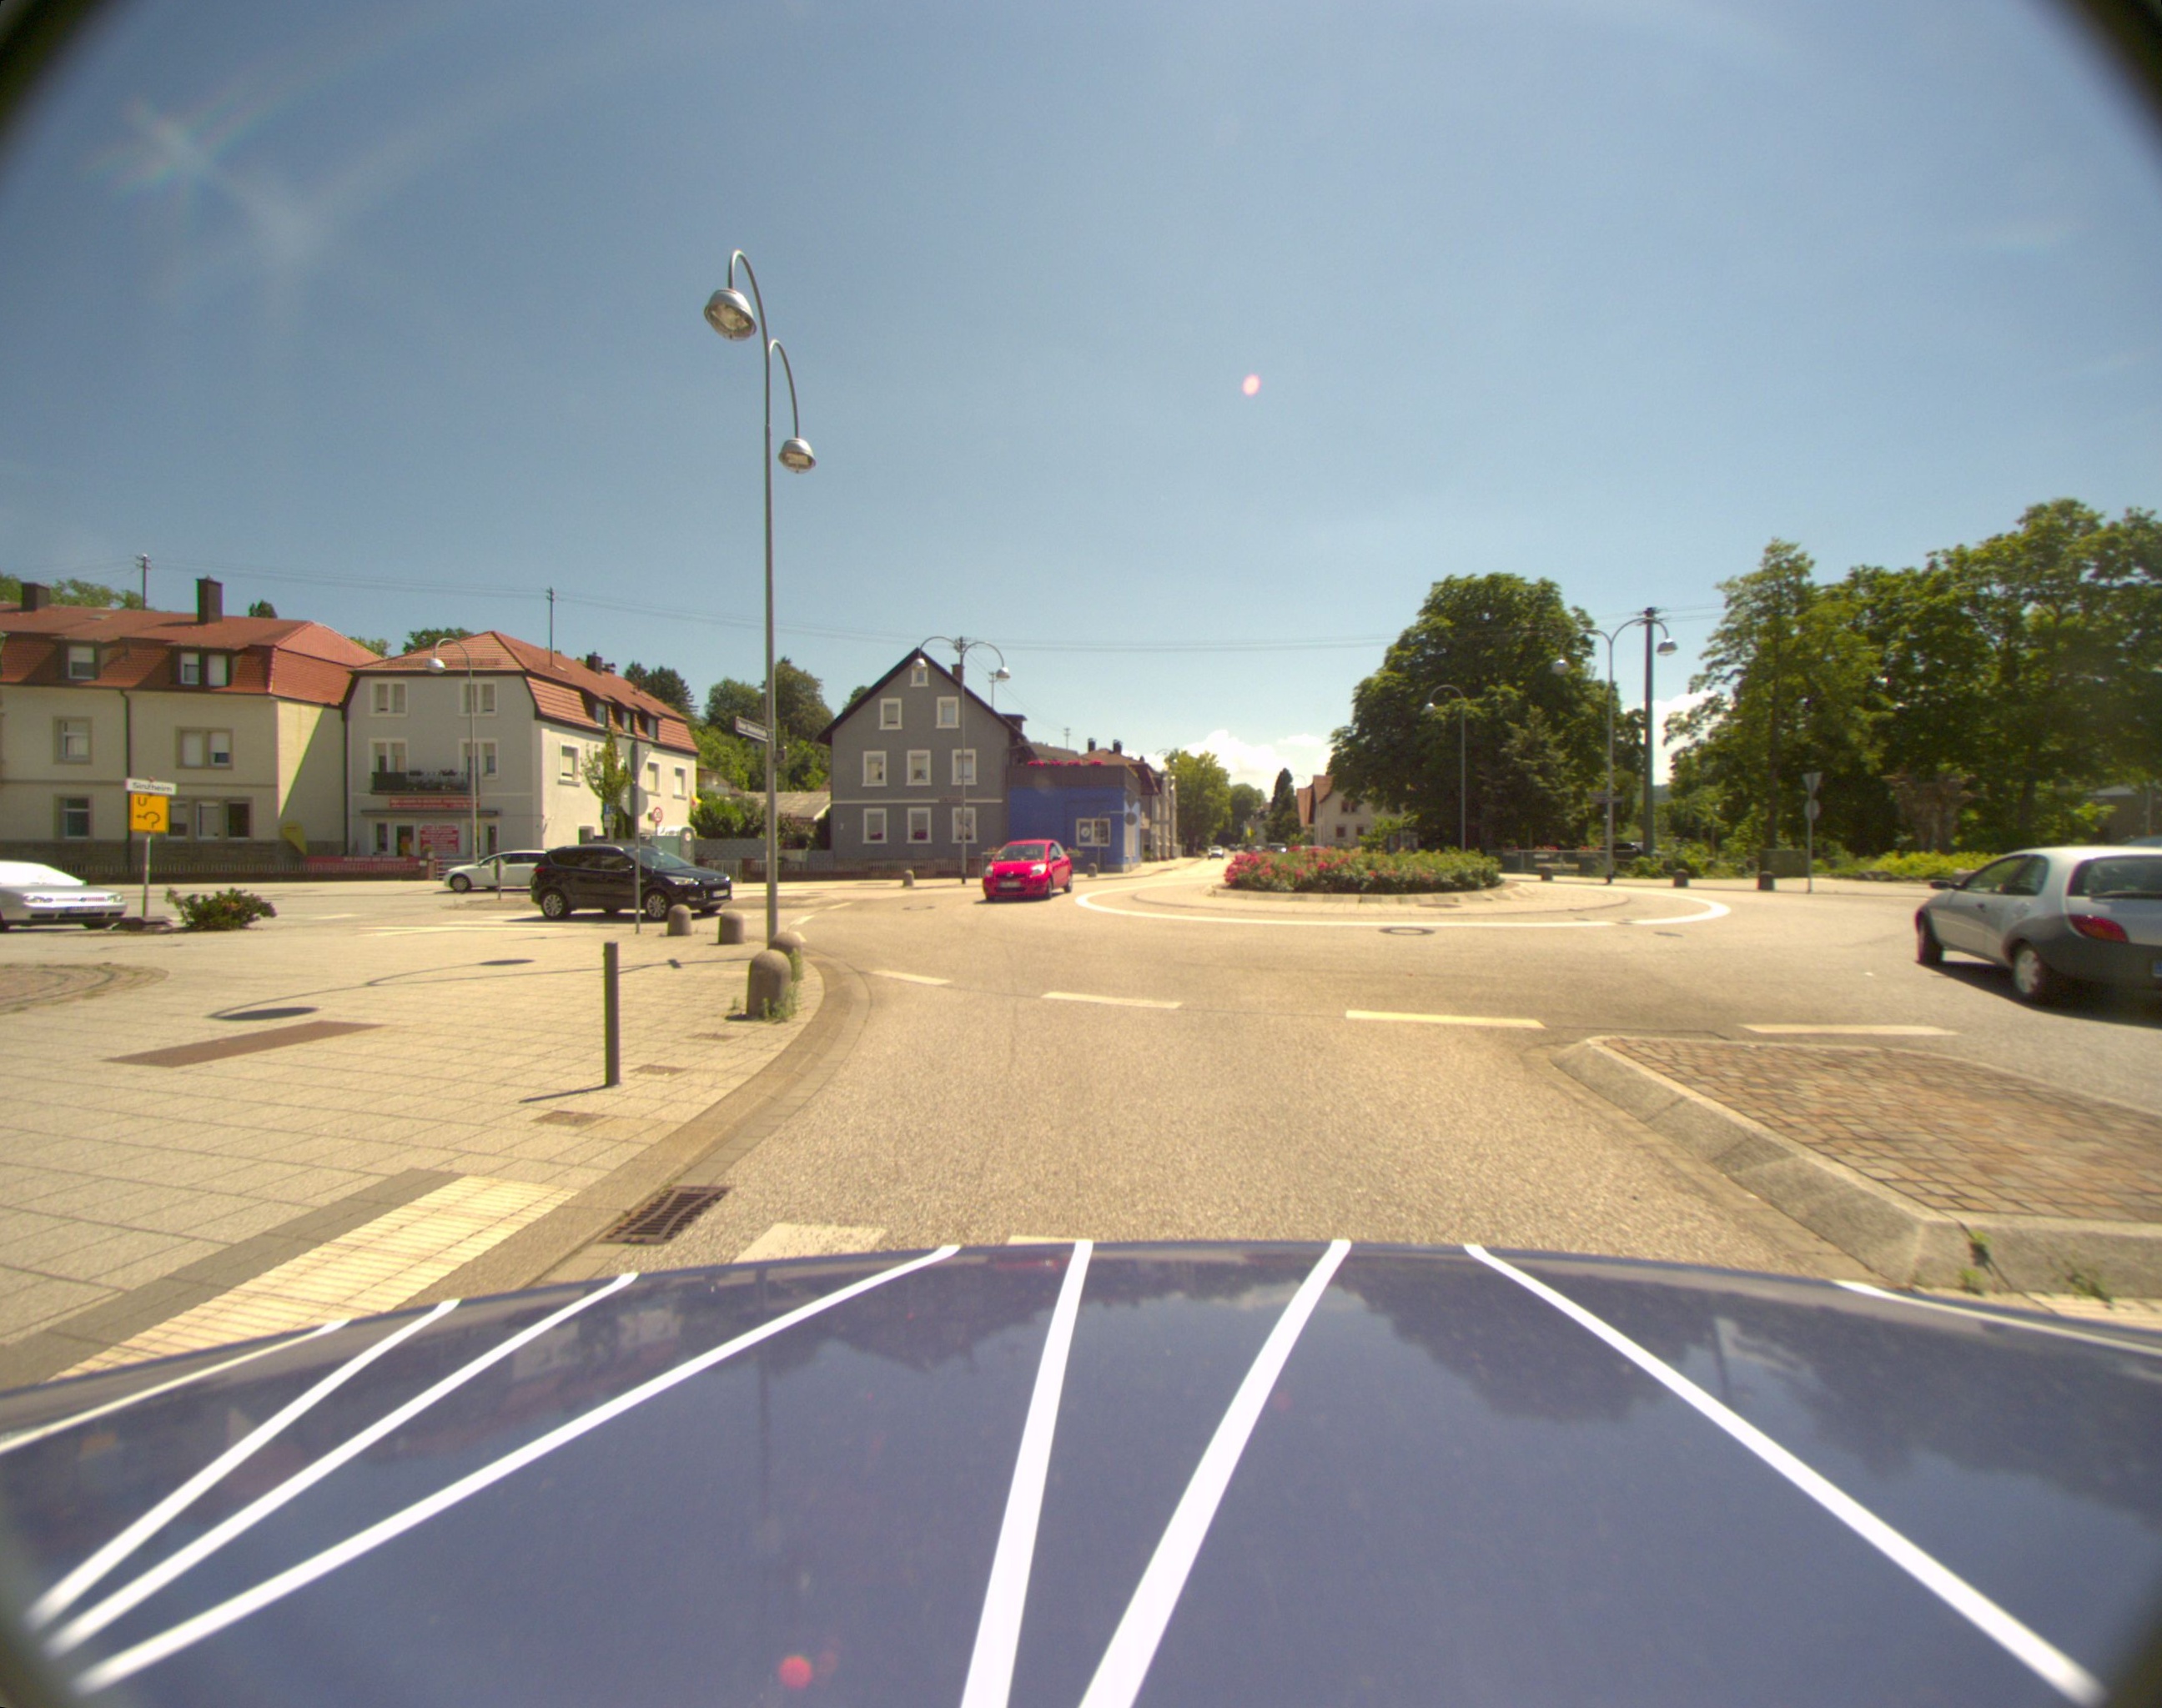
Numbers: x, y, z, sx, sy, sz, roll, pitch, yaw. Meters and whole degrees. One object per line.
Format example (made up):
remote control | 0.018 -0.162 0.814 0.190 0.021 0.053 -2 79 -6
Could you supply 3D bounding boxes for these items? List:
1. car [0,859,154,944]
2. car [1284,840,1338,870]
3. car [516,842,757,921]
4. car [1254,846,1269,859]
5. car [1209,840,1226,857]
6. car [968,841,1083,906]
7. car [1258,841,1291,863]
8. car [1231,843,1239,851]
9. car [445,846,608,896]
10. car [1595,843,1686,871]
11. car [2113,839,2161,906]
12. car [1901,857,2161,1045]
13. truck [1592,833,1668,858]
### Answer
car | -21.425 0.899 15.126 3.995 1.580 1.803 0 -1 5
car | 13.086 0.032 43.502 1.931 1.375 4.285 -2 4 3
car | -10.152 0.578 17.532 4.520 1.679 2.001 0 2 9
car | 28.421 -0.233 119.683 1.997 2.001 4.004 1 -1 10
car | 16.724 -0.662 93.186 1.997 2.001 4.004 1 -1 10
car | -1.337 0.463 20.138 1.831 1.524 4.004 -1 0 14
car | 14.837 -0.180 58.493 1.997 1.553 4.168 2 2 8
car | 38.356 -1.775 189.105 1.737 1.695 4.003 -1 -2 7
car | -20.113 0.598 27.733 4.285 1.576 1.997 0 5 -5
car | 33.311 0.158 45.376 1.844 1.592 3.992 0 1 -20
car | 26.592 0.420 17.155 3.587 1.537 1.756 0 1 14
car | 9.841 0.785 7.392 1.700 1.450 3.797 2 1 35
truck | 57.231 -0.904 79.293 6.200 2.428 2.270 0 -2 42
